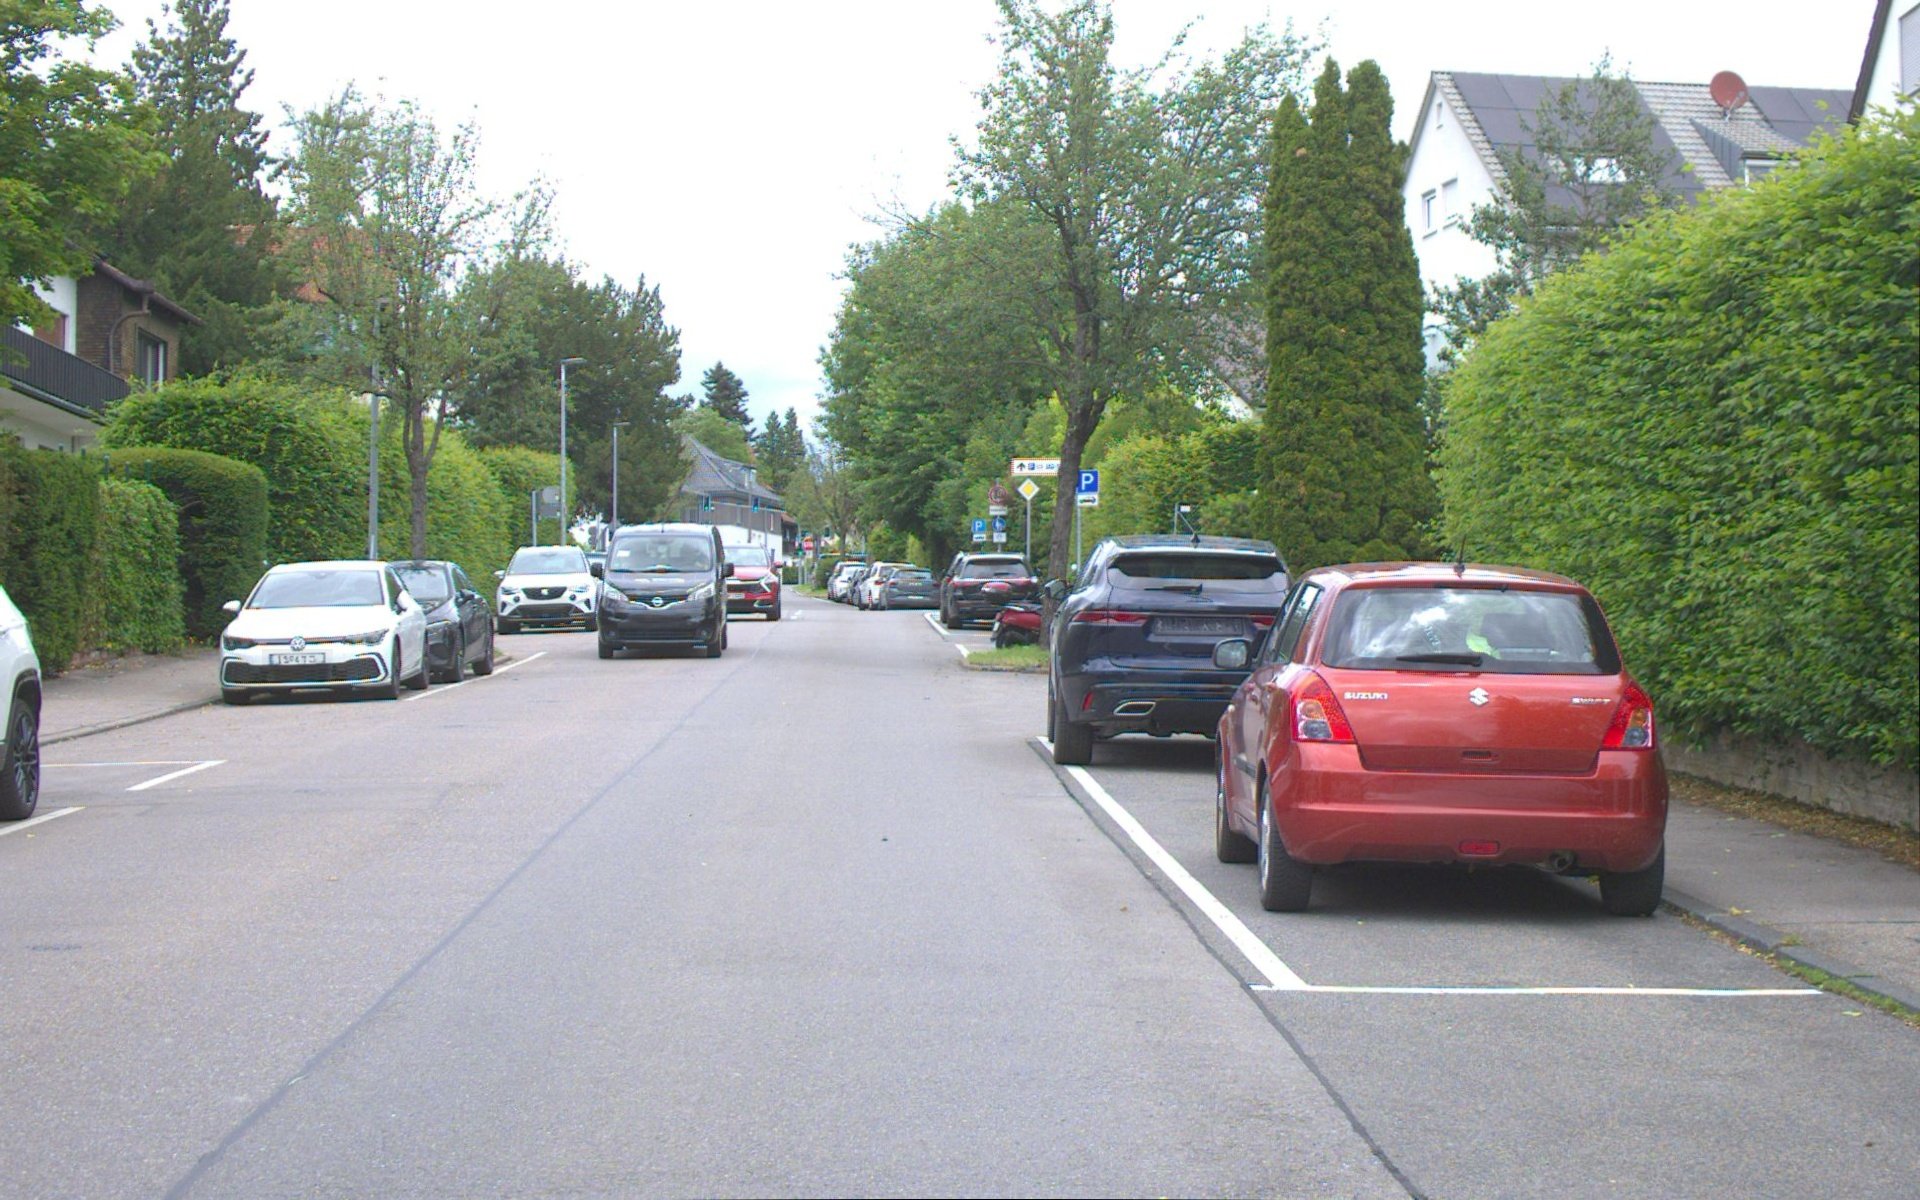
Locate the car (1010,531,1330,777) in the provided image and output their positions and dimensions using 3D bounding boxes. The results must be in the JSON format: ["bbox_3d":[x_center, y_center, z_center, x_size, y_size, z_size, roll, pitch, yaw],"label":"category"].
[{"bbox_3d":[1.468,0.339,25.743,1.993,1.612,4.513,2,1,-1],"label":"car"}]

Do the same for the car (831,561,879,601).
[{"bbox_3d":[-4.160,-0.754,135.967,1.664,1.495,3.468,0,1,-6],"label":"car"}]

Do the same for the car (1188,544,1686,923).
[{"bbox_3d":[2.052,0.511,15.754,1.661,1.503,3.759,0,1,-1],"label":"car"}]

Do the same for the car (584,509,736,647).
[{"bbox_3d":[-4.198,-0.342,48.672,1.885,1.844,4.402,-1,1,-2],"label":"car"}]

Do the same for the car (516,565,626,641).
[{"bbox_3d":[-7.536,0.062,66.951,1.762,1.383,4.000,-2,0,-2],"label":"car"}]

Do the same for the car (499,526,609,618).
[{"bbox_3d":[-7.161,-0.525,60.926,1.722,1.535,4.001,-1,1,-4],"label":"car"}]

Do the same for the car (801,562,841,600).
[{"bbox_3d":[-6.413,-0.901,158.056,1.643,1.662,3.468,0,1,-6],"label":"car"}]

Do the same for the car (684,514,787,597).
[{"bbox_3d":[-4.695,-0.946,72.292,1.941,1.641,4.258,-2,1,-1],"label":"car"}]

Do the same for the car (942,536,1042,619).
[{"bbox_3d":[0.603,-0.465,68.339,1.882,1.528,4.475,1,1,-1],"label":"car"}]

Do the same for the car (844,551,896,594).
[{"bbox_3d":[-3.299,-1.010,125.435,1.664,1.495,3.468,0,1,-6],"label":"car"}]

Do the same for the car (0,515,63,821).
[{"bbox_3d":[-6.145,0.409,17.849,1.837,1.660,4.408,-1,1,-1],"label":"car"}]

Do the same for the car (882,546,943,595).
[{"bbox_3d":[-1.542,-0.971,111.316,1.664,1.495,3.468,0,1,-6],"label":"car"}]

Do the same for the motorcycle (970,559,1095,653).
[{"bbox_3d":[1.073,0.080,50.363,1.863,1.342,0.599,-1,1,-37],"label":"motorcycle"}]

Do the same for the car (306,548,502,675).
[{"bbox_3d":[-6.587,0.110,41.094,1.727,1.418,4.079,-1,1,-1],"label":"car"}]

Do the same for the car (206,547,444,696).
[{"bbox_3d":[-6.651,0.177,36.441,1.837,1.417,4.409,-1,1,-2],"label":"car"}]

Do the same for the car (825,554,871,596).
[{"bbox_3d":[-4.673,-1.060,142.705,1.664,1.662,3.468,0,1,-6],"label":"car"}]

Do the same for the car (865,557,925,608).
[{"bbox_3d":[-2.201,-0.602,115.944,1.713,1.652,3.623,0,1,-6],"label":"car"}]
